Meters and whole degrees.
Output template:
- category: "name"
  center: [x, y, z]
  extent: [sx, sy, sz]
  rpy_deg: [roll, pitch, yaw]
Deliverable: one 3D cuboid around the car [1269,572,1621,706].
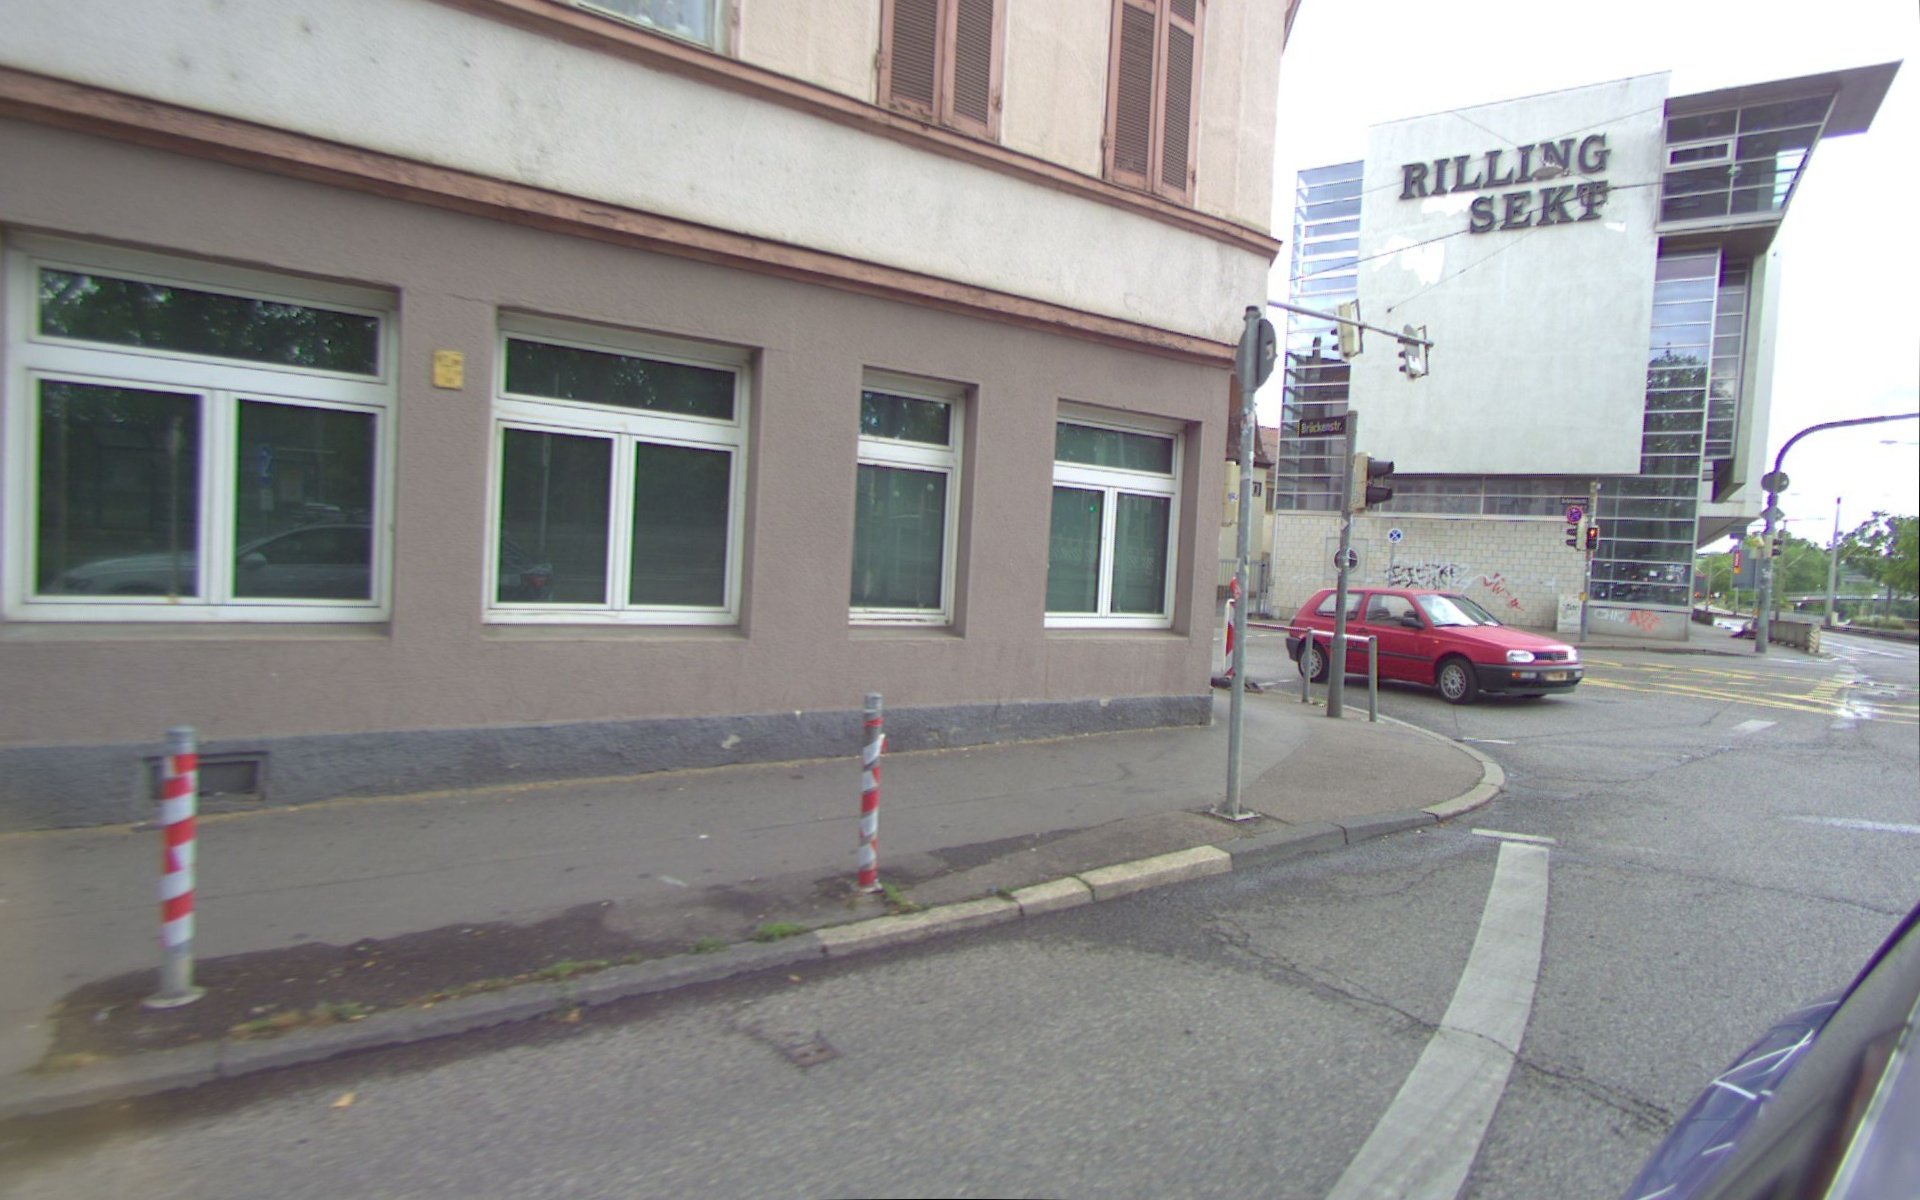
- category: "car"
  center: [6.508, 0.393, 14.122]
  extent: [1.813, 1.439, 4.182]
  rpy_deg: [-1, 4, -26]
